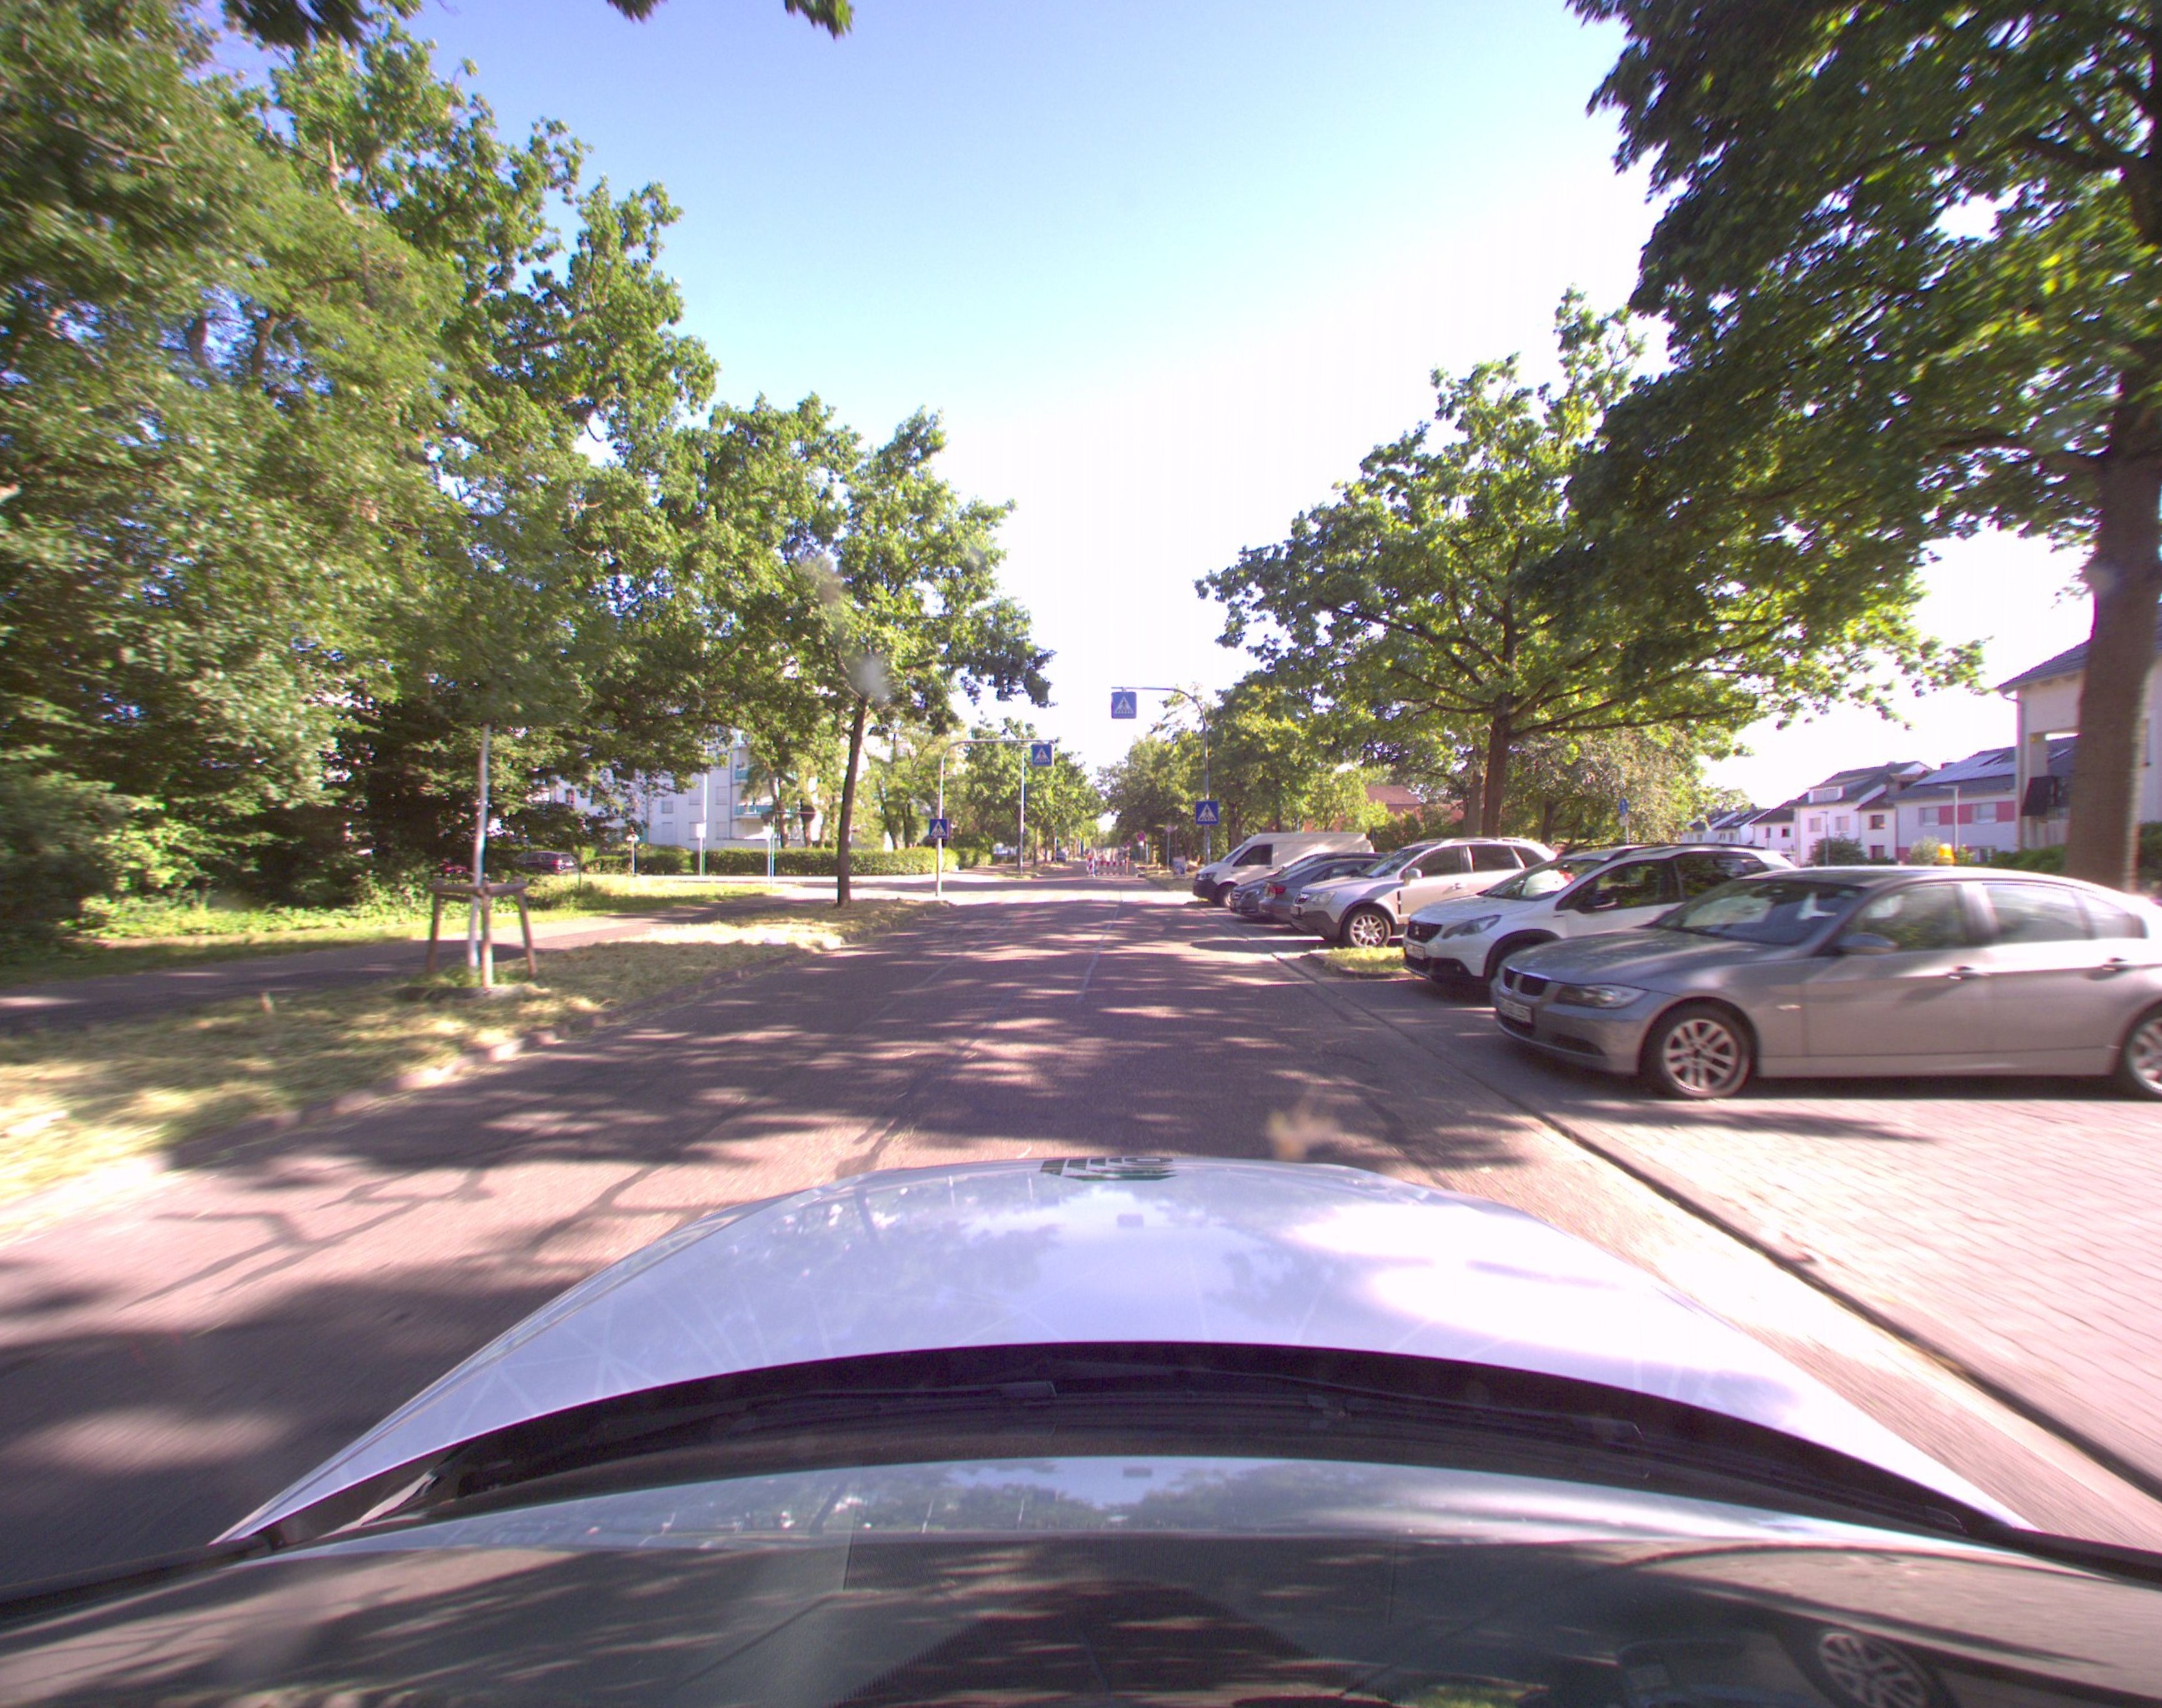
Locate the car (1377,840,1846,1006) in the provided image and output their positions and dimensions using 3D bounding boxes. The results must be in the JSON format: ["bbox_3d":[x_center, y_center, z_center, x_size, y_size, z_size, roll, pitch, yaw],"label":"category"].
[{"bbox_3d":[5.442,0.670,8.759,3.871,1.497,1.777,-2,0,1],"label":"car"}]

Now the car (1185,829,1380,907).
[{"bbox_3d":[5.752,0.395,23.727,5.170,2.105,2.082,0,-1,0],"label":"car"}]

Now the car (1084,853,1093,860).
[{"bbox_3d":[1.895,0.543,204.118,1.986,1.716,4.001,0,0,1],"label":"car"}]

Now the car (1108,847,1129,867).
[{"bbox_3d":[3.660,0.296,79.905,1.986,1.933,4.001,1,0,1],"label":"car"}]

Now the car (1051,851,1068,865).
[{"bbox_3d":[-2.844,0.535,106.896,1.986,1.716,4.001,1,0,1],"label":"car"}]

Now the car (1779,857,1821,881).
[{"bbox_3d":[47.819,0.991,54.218,1.714,1.555,3.489,0,0,35],"label":"car"}]

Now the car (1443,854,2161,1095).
[{"bbox_3d":[5.237,0.730,5.849,4.429,1.390,1.912,-1,0,1],"label":"car"}]

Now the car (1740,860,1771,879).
[{"bbox_3d":[57.765,1.343,69.765,1.714,1.555,3.489,0,0,35],"label":"car"}]

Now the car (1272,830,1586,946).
[{"bbox_3d":[5.567,0.521,13.444,4.370,1.651,1.851,-2,0,0],"label":"car"}]

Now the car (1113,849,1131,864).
[{"bbox_3d":[5.044,0.297,100.603,1.986,1.716,4.001,1,0,1],"label":"car"}]

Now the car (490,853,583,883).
[{"bbox_3d":[-30.810,0.781,46.141,3.964,1.613,2.019,1,0,8],"label":"car"}]

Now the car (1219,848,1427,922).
[{"bbox_3d":[5.421,0.681,18.623,4.199,1.568,1.933,1,0,0],"label":"car"}]

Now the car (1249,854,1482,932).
[{"bbox_3d":[5.455,0.731,16.029,3.970,1.433,1.902,0,0,3],"label":"car"}]

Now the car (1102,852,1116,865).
[{"bbox_3d":[3.943,0.635,116.389,1.986,1.716,4.001,1,0,1],"label":"car"}]
